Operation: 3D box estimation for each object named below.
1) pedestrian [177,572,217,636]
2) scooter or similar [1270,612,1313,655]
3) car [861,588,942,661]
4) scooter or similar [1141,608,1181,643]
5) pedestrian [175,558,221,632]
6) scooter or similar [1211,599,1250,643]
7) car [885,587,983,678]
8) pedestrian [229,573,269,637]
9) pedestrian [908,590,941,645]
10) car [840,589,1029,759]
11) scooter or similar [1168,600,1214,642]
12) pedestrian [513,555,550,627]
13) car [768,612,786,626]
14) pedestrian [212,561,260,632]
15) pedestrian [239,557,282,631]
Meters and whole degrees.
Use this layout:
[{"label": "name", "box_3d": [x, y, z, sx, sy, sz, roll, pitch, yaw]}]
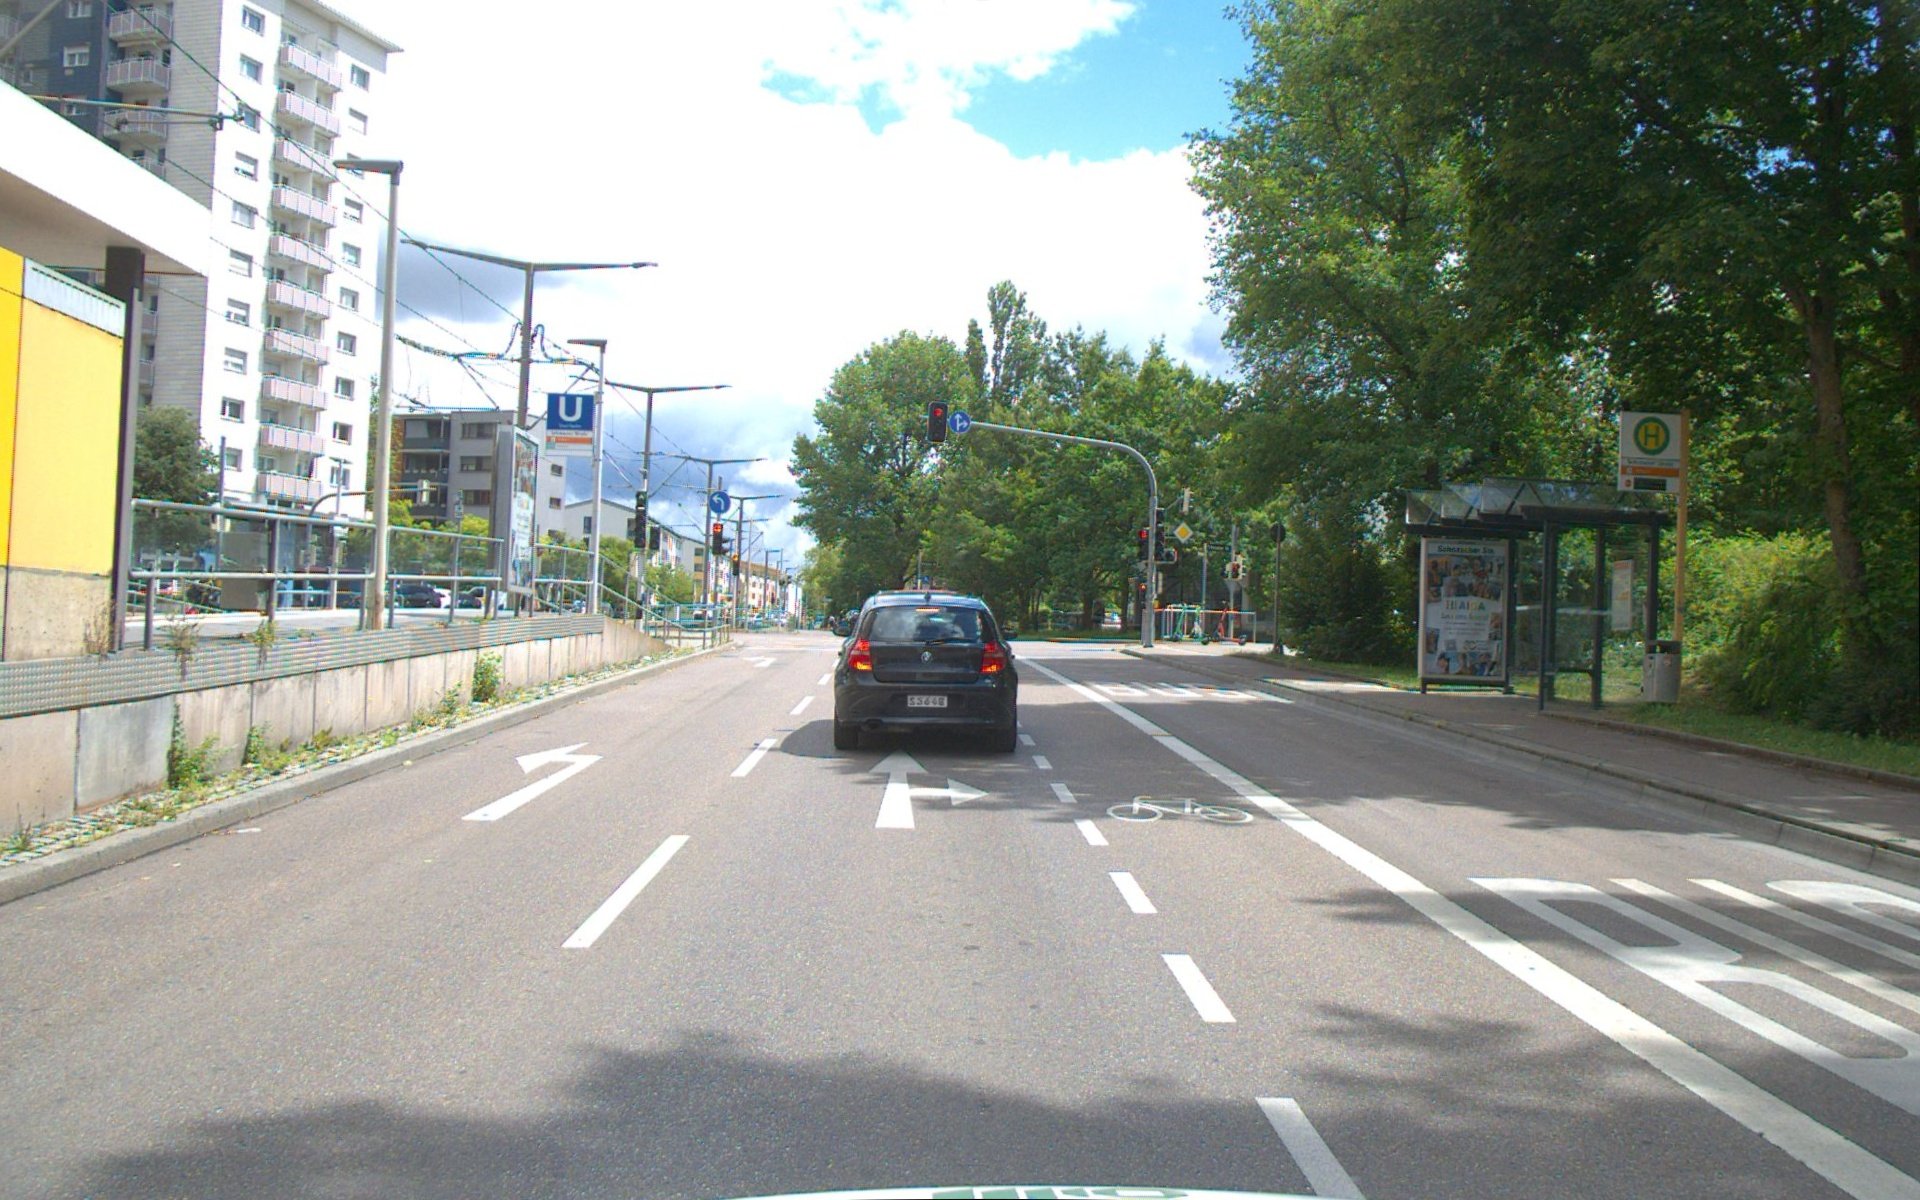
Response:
[{"label": "pedestrian", "box_3d": [-16.554, 0.090, 35.867, 0.656, 1.366, 0.551, 1, 0, 41]}, {"label": "scooter or similar", "box_3d": [8.764, 0.892, 43.702, 1.134, 1.118, 0.329, 1, 0, -25]}, {"label": "car", "box_3d": [-1.280, 0.489, 35.287, 1.621, 1.443, 3.515, 1, 0, -3]}, {"label": "scooter or similar", "box_3d": [5.698, 0.735, 46.926, 1.102, 0.974, 0.299, 1, 0, -17]}, {"label": "pedestrian", "box_3d": [-16.910, -0.108, 36.720, 0.595, 1.611, 0.775, 1, 0, 2]}, {"label": "scooter or similar", "box_3d": [8.015, 0.630, 48.949, 1.088, 1.280, 0.331, 1, 0, -14]}, {"label": "car", "box_3d": [-0.436, 0.518, 28.572, 1.562, 1.443, 3.516, 1, 0, -1]}, {"label": "pedestrian", "box_3d": [-15.578, 0.108, 36.235, 0.680, 1.366, 0.851, 1, 0, -32]}, {"label": "pedestrian", "box_3d": [-0.946, 0.460, 44.498, 0.847, 1.468, 0.798, 1, 0, -1]}, {"label": "car", "box_3d": [-0.209, 0.631, 16.152, 1.620, 1.443, 3.517, 1, 0, 0]}, {"label": "scooter or similar", "box_3d": [6.717, 0.617, 48.026, 1.267, 1.210, 0.383, 1, 0, -17]}, {"label": "pedestrian", "box_3d": [-9.952, -0.213, 38.447, 0.686, 1.661, 0.638, 0, 0, 1]}, {"label": "car", "box_3d": [-22.273, 2.299, 201.659, 1.928, 1.624, 3.997, 1, 0, -4]}, {"label": "pedestrian", "box_3d": [-16.705, -0.074, 38.162, 0.842, 1.605, 0.622, 1, 0, -10]}, {"label": "pedestrian", "box_3d": [-16.614, -0.143, 39.278, 0.666, 1.736, 0.826, 1, 0, -3]}]
